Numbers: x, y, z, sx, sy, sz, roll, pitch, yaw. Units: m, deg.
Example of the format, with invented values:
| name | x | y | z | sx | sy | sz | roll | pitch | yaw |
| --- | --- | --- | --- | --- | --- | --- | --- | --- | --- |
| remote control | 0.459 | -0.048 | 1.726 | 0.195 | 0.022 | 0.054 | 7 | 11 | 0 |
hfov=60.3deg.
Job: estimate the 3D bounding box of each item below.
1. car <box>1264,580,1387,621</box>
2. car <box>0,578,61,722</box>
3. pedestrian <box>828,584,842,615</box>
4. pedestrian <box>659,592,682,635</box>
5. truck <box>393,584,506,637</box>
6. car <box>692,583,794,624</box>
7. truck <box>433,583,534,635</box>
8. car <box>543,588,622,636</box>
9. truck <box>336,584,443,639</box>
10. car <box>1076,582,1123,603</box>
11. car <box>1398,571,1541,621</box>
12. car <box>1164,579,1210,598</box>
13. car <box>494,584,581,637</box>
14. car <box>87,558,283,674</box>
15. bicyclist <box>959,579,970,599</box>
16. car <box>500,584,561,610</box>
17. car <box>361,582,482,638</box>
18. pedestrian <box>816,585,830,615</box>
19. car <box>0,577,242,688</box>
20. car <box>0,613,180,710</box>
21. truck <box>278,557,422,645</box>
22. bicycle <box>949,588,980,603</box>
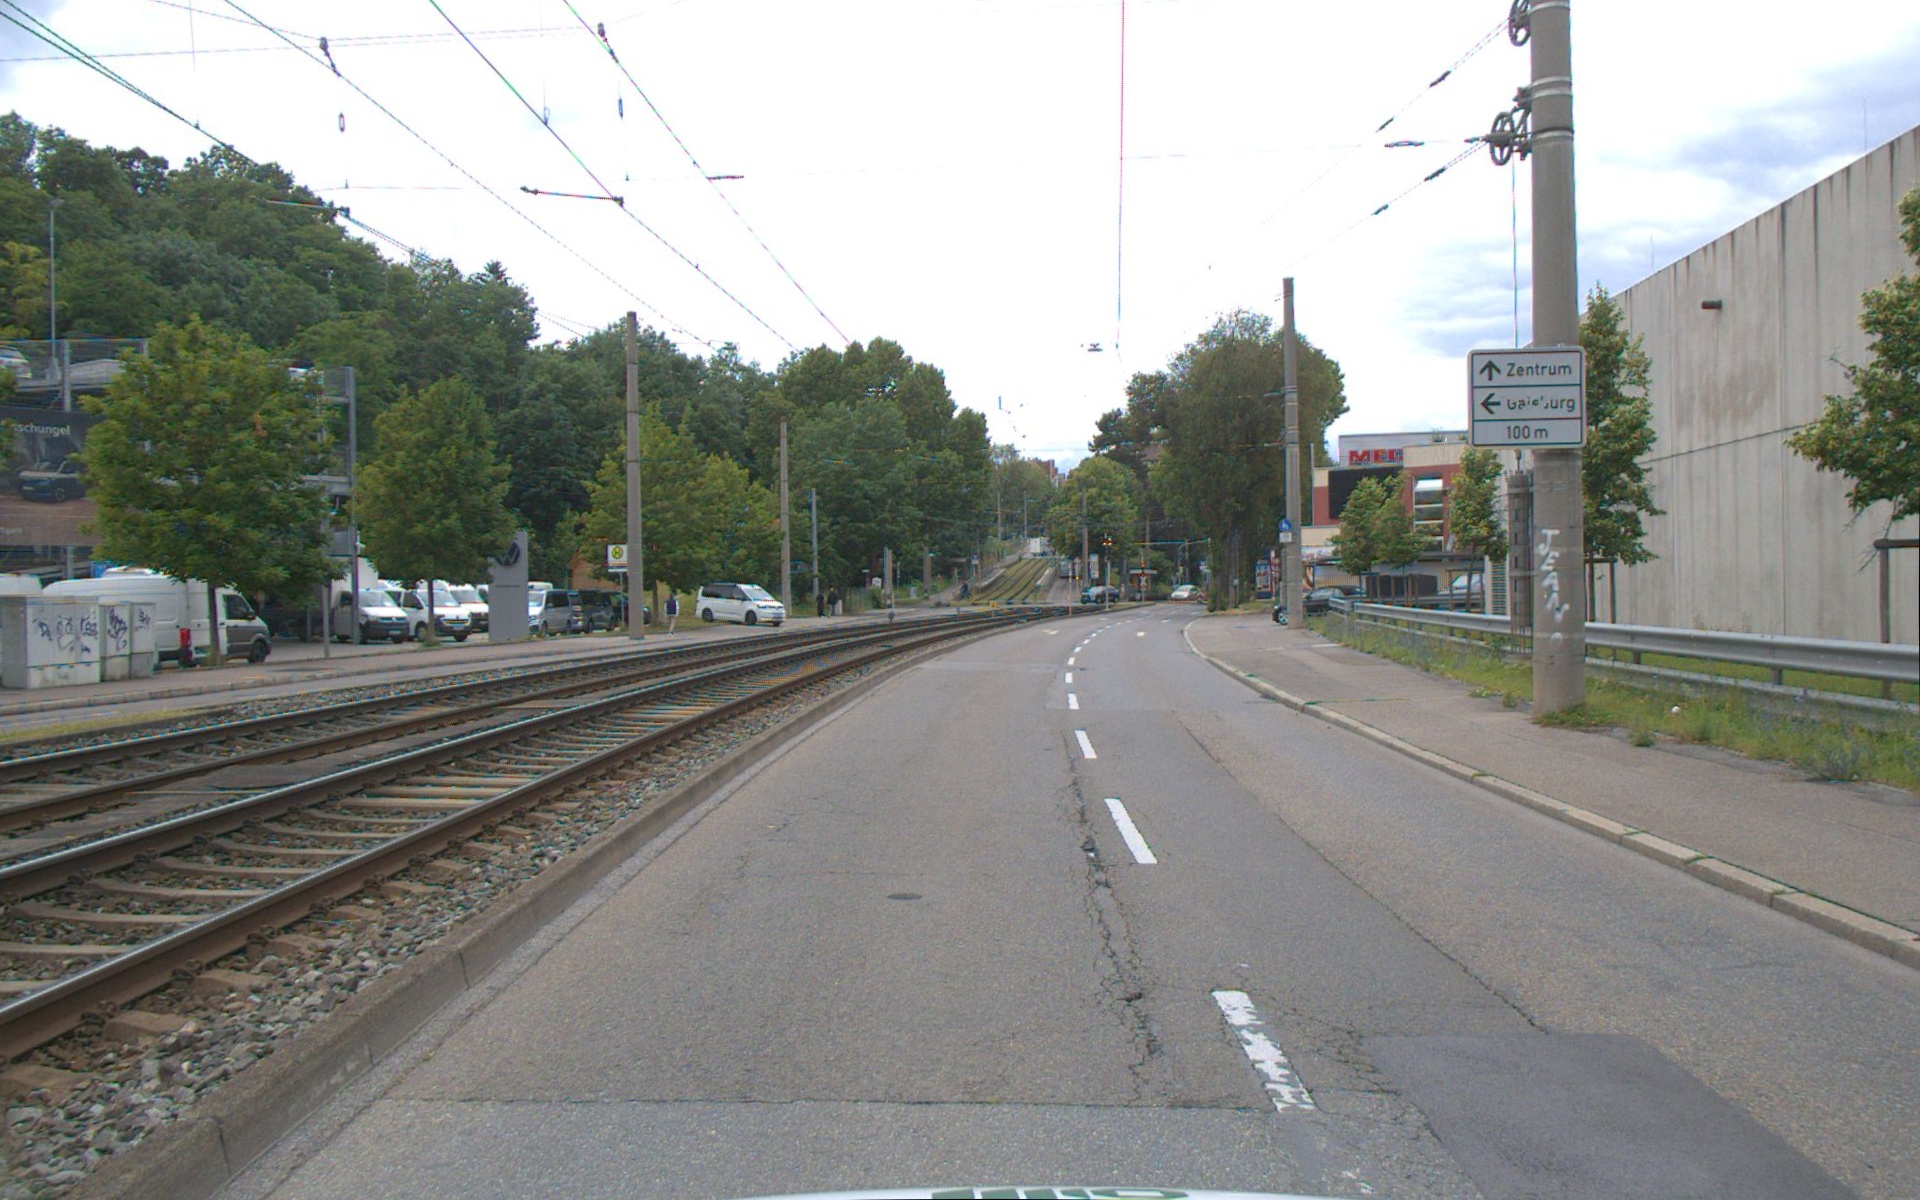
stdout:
| name | x | y | z | sx | sy | sz | roll | pitch | yaw |
| --- | --- | --- | --- | --- | --- | --- | --- | --- | --- |
| car | 13.641 | 0.030 | 61.854 | 4.148 | 1.468 | 1.757 | -1 | 0 | 35 |
| car | -21.180 | 1.025 | 33.981 | 4.274 | 2.868 | 2.005 | -1 | 0 | 2 |
| pedestrian | -7.399 | -0.032 | 97.881 | 0.662 | 1.845 | 0.856 | 1 | 0 | 9 |
| pedestrian | -11.453 | 0.523 | 65.512 | 0.703 | 1.684 | 1.042 | 1 | 0 | -1 |
| truck | -26.403 | 0.551 | 85.436 | 5.654 | 2.633 | 2.463 | -1 | 0 | 32 |
| car | -10.744 | 0.156 | 81.699 | 4.975 | 1.921 | 2.157 | 1 | 0 | 38 |
| truck | -25.311 | 0.484 | 87.863 | 4.963 | 2.633 | 2.463 | -1 | 0 | 32 |
| car | -16.811 | 0.498 | 73.898 | 1.951 | 2.049 | 5.133 | -1 | 0 | 5 |
| truck | -28.769 | 0.586 | 83.354 | 4.963 | 2.633 | 2.463 | -1 | 0 | 32 |
| car | 12.150 | -0.635 | 143.733 | 4.224 | 1.559 | 1.664 | 2 | -6 | -45 |
| car | 18.165 | -0.134 | 59.051 | 4.437 | 1.575 | 2.149 | -2 | -1 | -19 |
| car | 21.358 | -1.049 | 155.381 | 4.208 | 1.559 | 1.872 | 1 | -3 | -36 |
| car | -17.295 | 0.414 | 67.929 | 1.951 | 2.049 | 4.922 | -1 | 0 | 5 |
| car | -21.923 | 0.410 | 47.115 | 2.063 | 3.072 | 5.942 | -1 | 0 | 8 |
| bicyclist | 0.428 | -1.079 | 161.417 | 1.026 | 1.881 | 0.824 | -1 | 0 | 5 |
| car | -33.586 | -0.244 | 129.533 | 1.961 | 2.049 | 4.384 | -1 | 0 | 37 |
| car | -20.833 | 0.382 | 63.907 | 4.632 | 2.049 | 1.994 | -1 | 0 | 34 |
| pedestrian | -8.126 | -0.016 | 97.969 | 0.614 | 1.743 | 0.856 | 1 | 0 | 9 |
| car | -21.340 | 0.793 | 41.852 | 5.356 | 2.647 | 2.248 | -1 | 0 | 6 |
| car | -21.056 | 1.433 | 39.055 | 4.274 | 2.142 | 2.005 | -1 | 0 | 2 |
| truck | -22.734 | 0.066 | 61.563 | 5.819 | 3.139 | 2.112 | -1 | 0 | 36 |
| bicycle | 0.414 | -0.478 | 161.438 | 2.923 | 1.367 | 0.827 | -1 | 0 | 6 |
